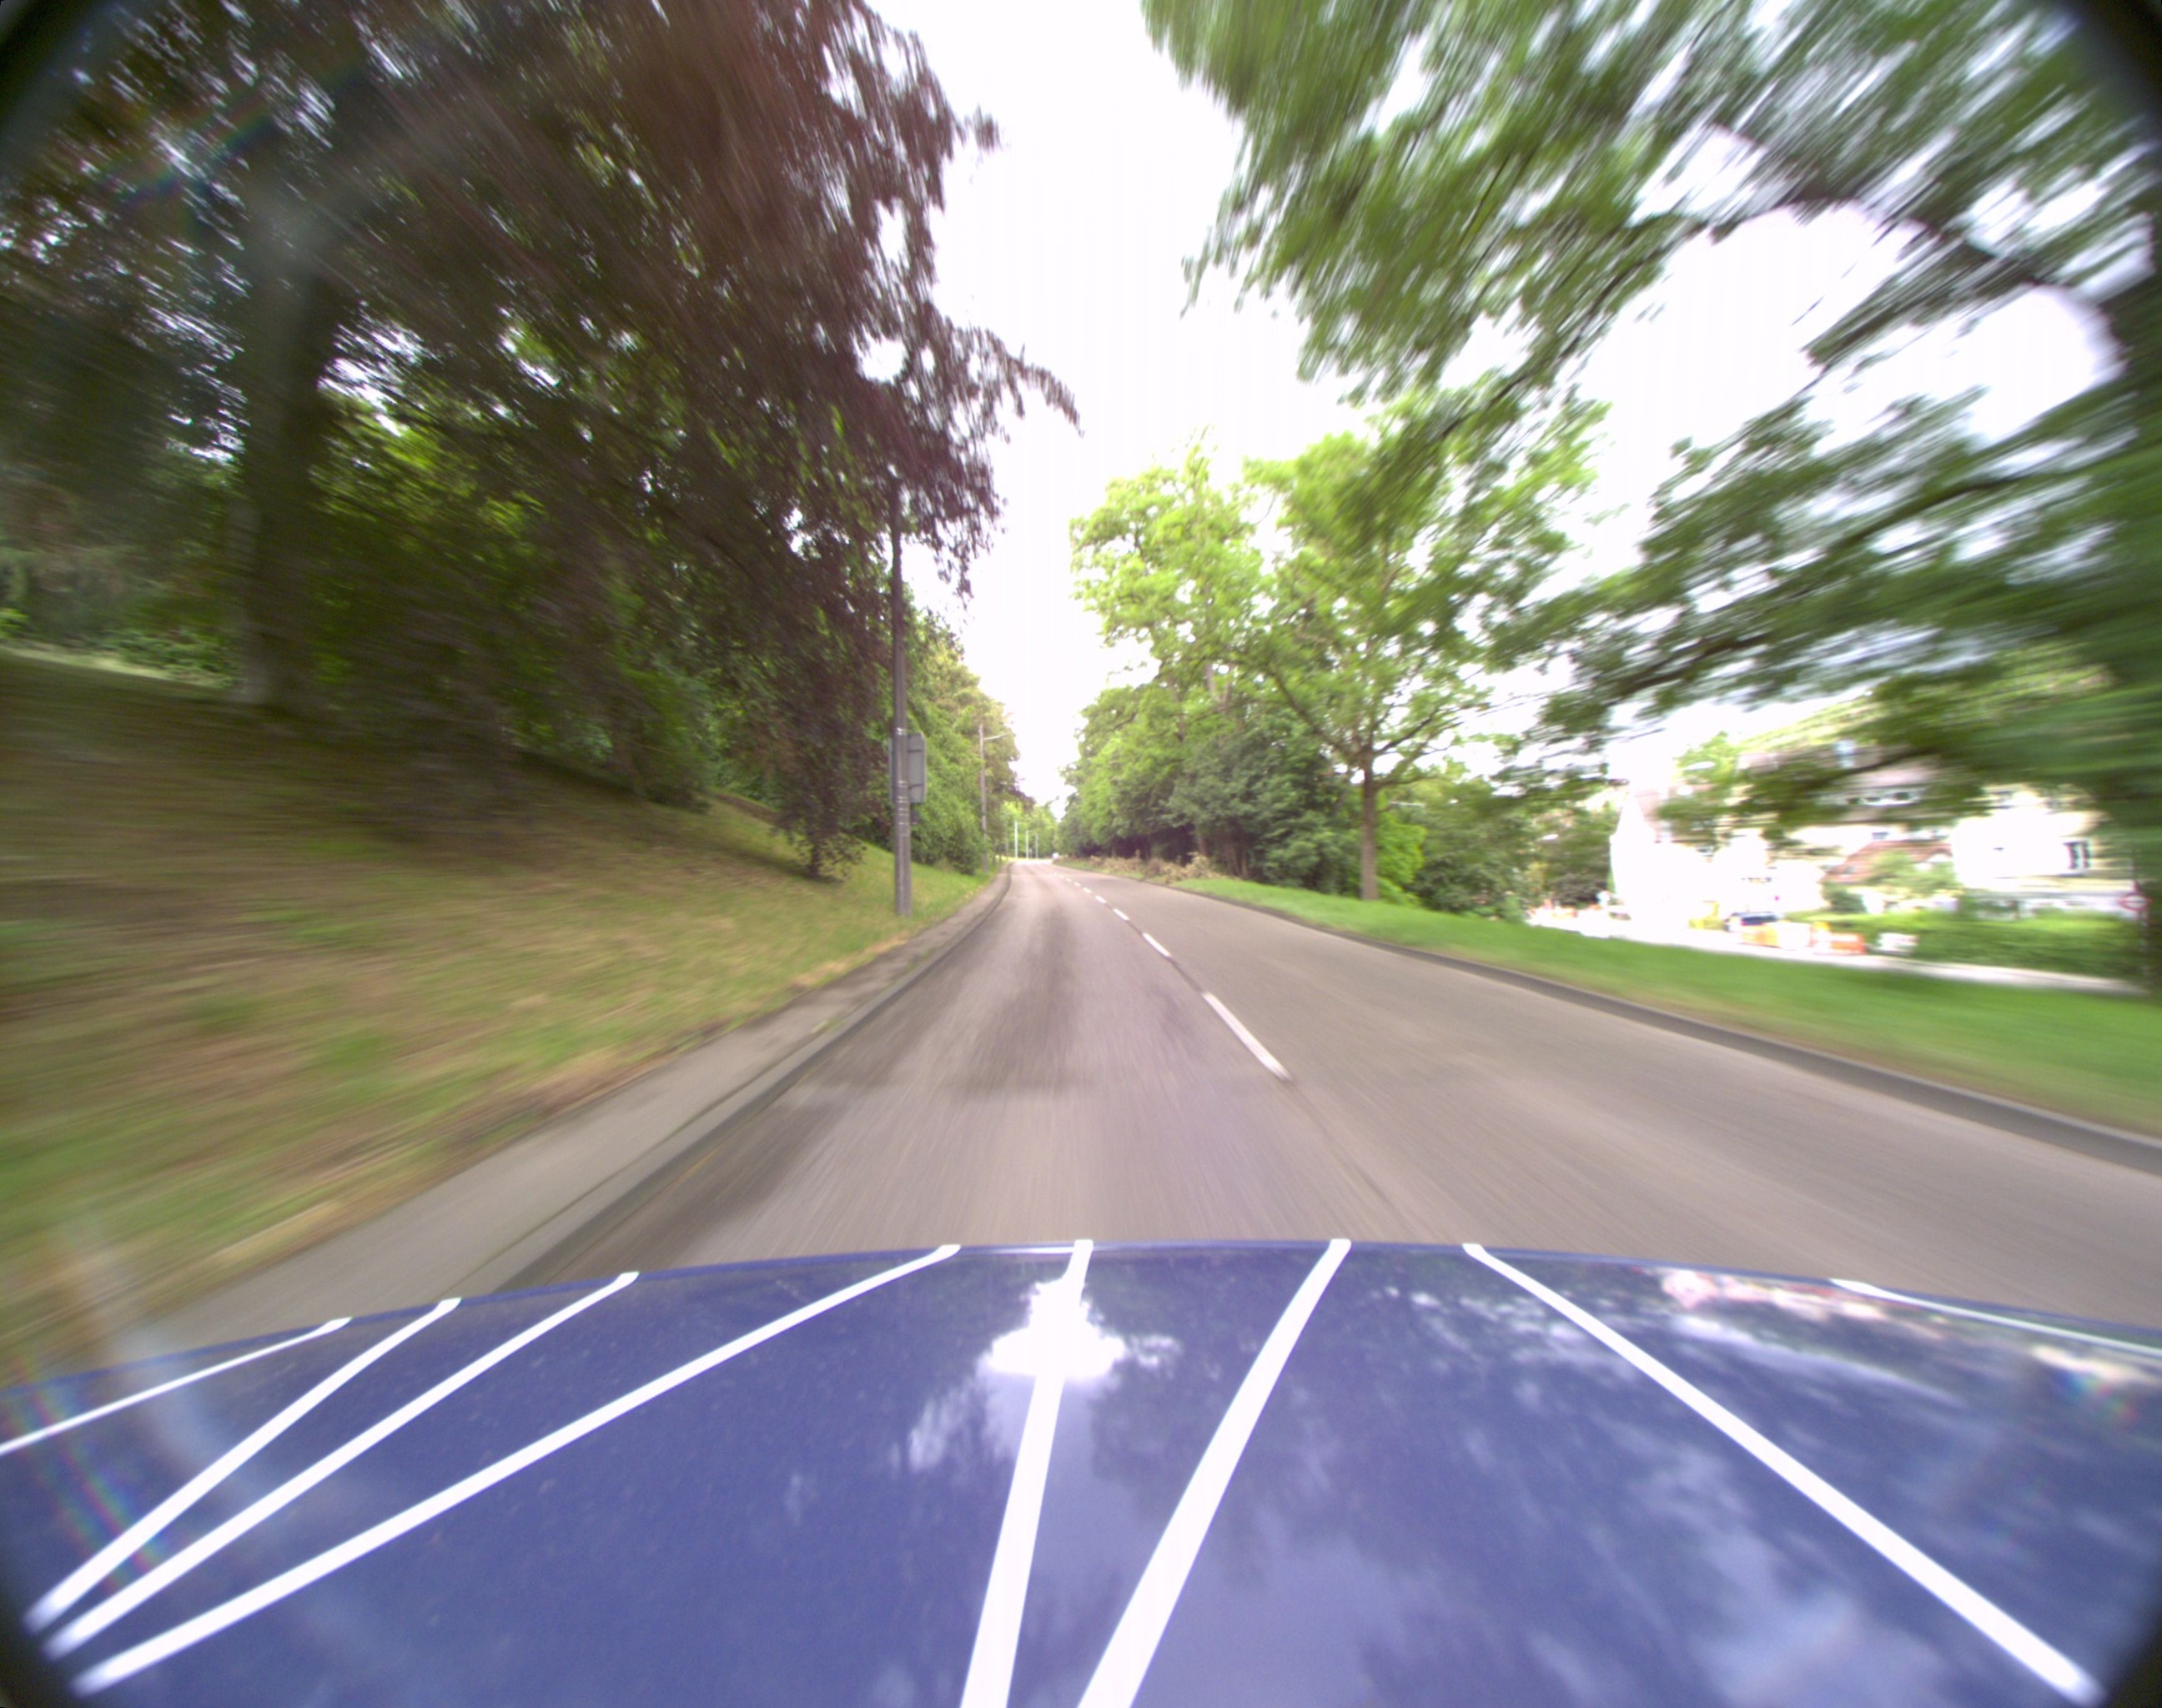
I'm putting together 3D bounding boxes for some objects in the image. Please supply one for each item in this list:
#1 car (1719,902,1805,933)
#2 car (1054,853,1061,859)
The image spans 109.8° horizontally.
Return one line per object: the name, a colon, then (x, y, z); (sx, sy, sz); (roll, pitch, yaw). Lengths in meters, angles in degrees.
car: (45.195, 4.236, 50.524); (3.843, 1.870, 1.722); (-2, -1, 14)
car: (-7.124, 0.546, 231.221); (1.999, 1.936, 4.943); (-1, 1, -3)
